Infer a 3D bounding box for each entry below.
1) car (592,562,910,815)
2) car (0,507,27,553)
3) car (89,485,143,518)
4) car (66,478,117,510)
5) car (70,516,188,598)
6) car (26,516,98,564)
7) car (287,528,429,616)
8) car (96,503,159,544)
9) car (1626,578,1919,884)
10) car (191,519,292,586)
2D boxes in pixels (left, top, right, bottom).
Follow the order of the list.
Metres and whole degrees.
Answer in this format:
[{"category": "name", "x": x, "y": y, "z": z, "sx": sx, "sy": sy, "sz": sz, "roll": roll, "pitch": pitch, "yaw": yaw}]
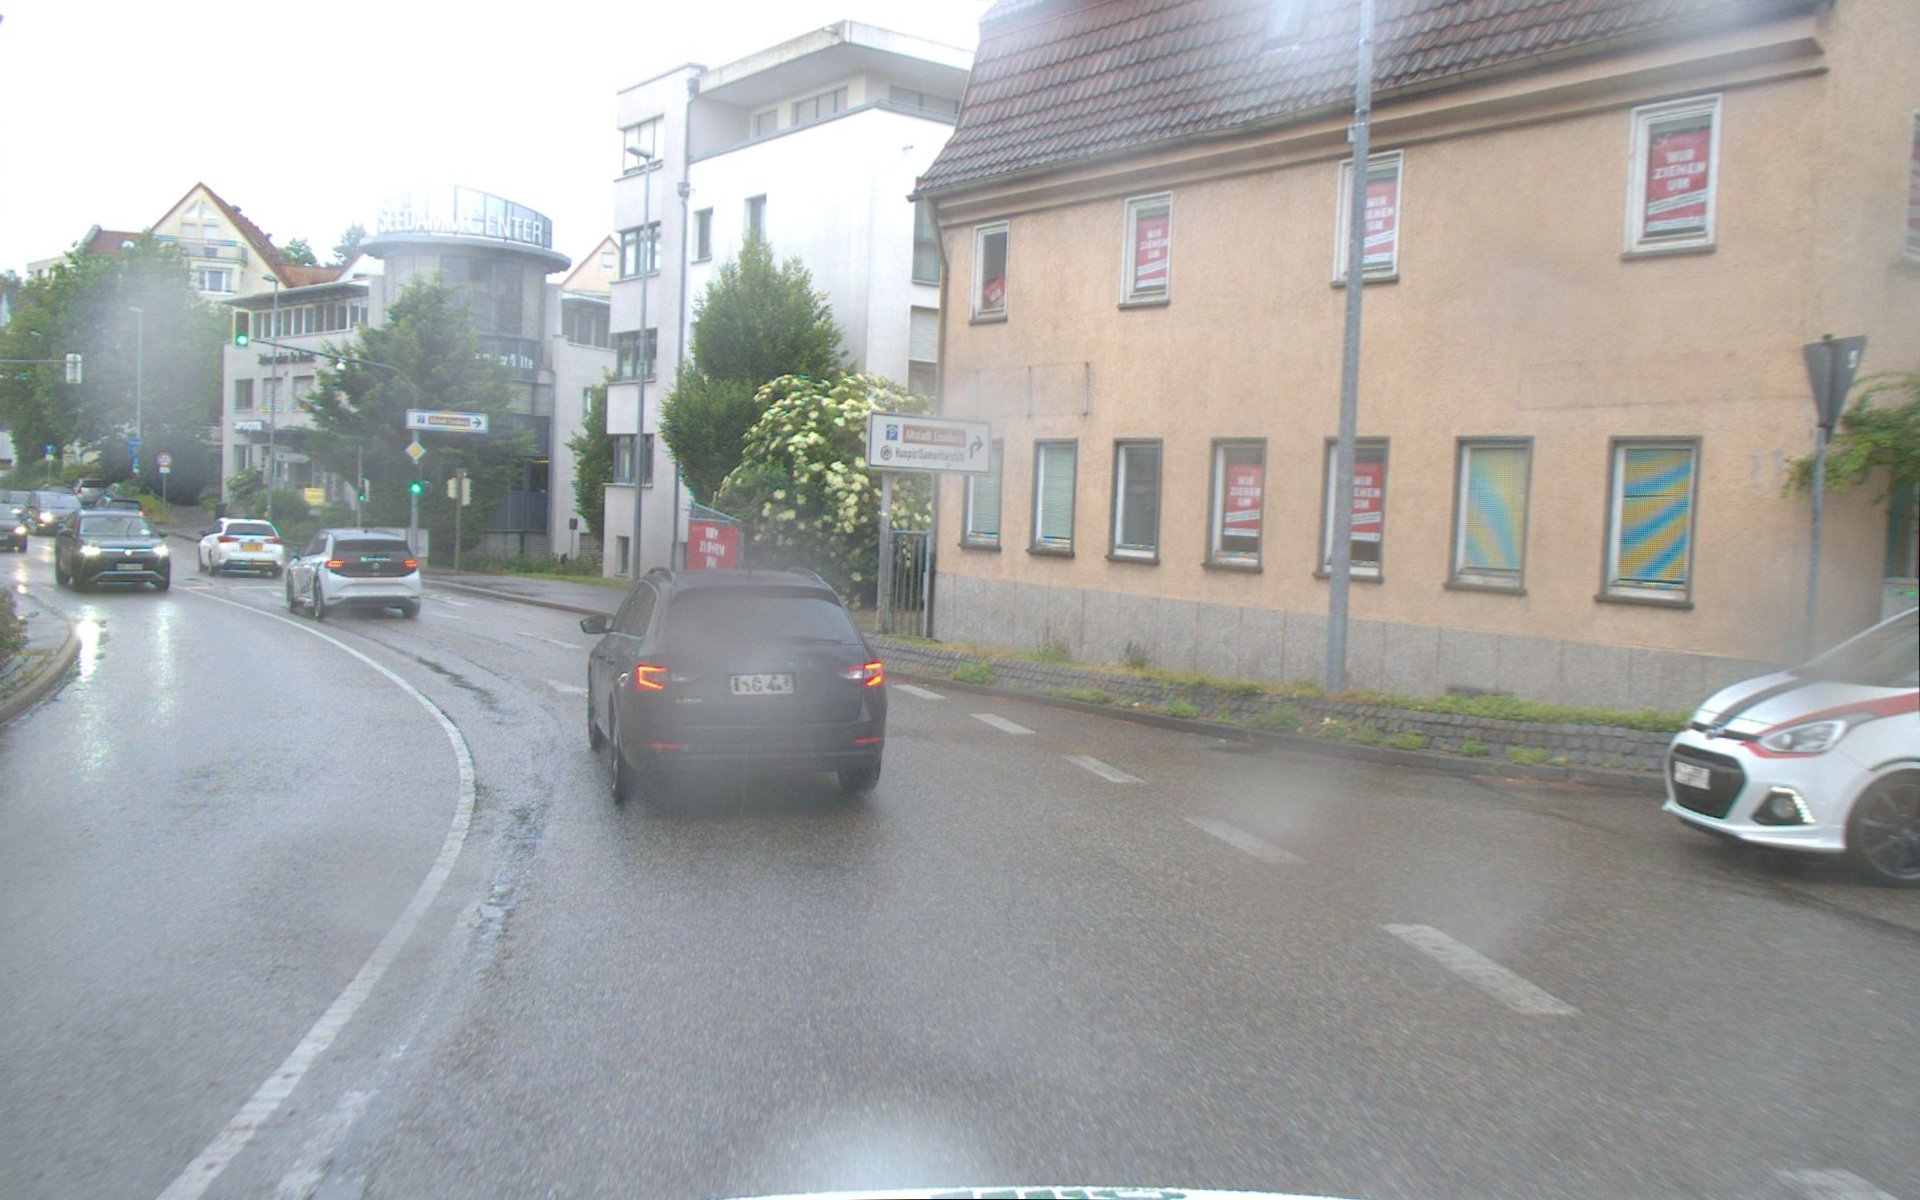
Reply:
[{"category": "car", "x": -1.710, "y": 0.480, "z": 12.170, "sx": 1.753, "sy": 1.509, "sz": 4.228, "roll": 0, "pitch": 1, "yaw": -15}, {"category": "car", "x": -30.871, "y": -2.227, "z": 52.375, "sx": 1.758, "sy": 1.426, "sz": 3.867, "roll": -2, "pitch": 3, "yaw": -38}, {"category": "car", "x": -44.589, "y": -5.215, "z": 87.365, "sx": 1.840, "sy": 1.669, "sz": 3.490, "roll": -2, "pitch": 5, "yaw": -39}, {"category": "car", "x": -48.277, "y": -5.873, "z": 91.927, "sx": 1.840, "sy": 1.669, "sz": 3.818, "roll": -2, "pitch": 5, "yaw": -39}, {"category": "car", "x": -18.183, "y": -0.995, "z": 36.102, "sx": 1.876, "sy": 1.623, "sz": 4.308, "roll": -3, "pitch": 4, "yaw": -32}, {"category": "car", "x": -34.450, "y": -2.313, "z": 63.407, "sx": 1.771, "sy": 1.589, "sz": 4.345, "roll": 1, "pitch": 4, "yaw": -37}, {"category": "car", "x": -11.117, "y": -0.545, "z": 30.390, "sx": 1.799, "sy": 1.383, "sz": 3.951, "roll": 1, "pitch": 3, "yaw": -30}, {"category": "car", "x": -34.769, "y": -3.215, "z": 69.041, "sx": 1.877, "sy": 1.618, "sz": 3.645, "roll": -1, "pitch": 4, "yaw": -35}, {"category": "car", "x": 5.857, "y": 0.632, "z": 9.143, "sx": 3.674, "sy": 1.478, "sz": 1.712, "roll": -1, "pitch": 2, "yaw": -1}, {"category": "car", "x": -18.830, "y": -1.220, "z": 43.278, "sx": 1.712, "sy": 1.618, "sz": 4.135, "roll": 2, "pitch": 0, "yaw": -34}]
